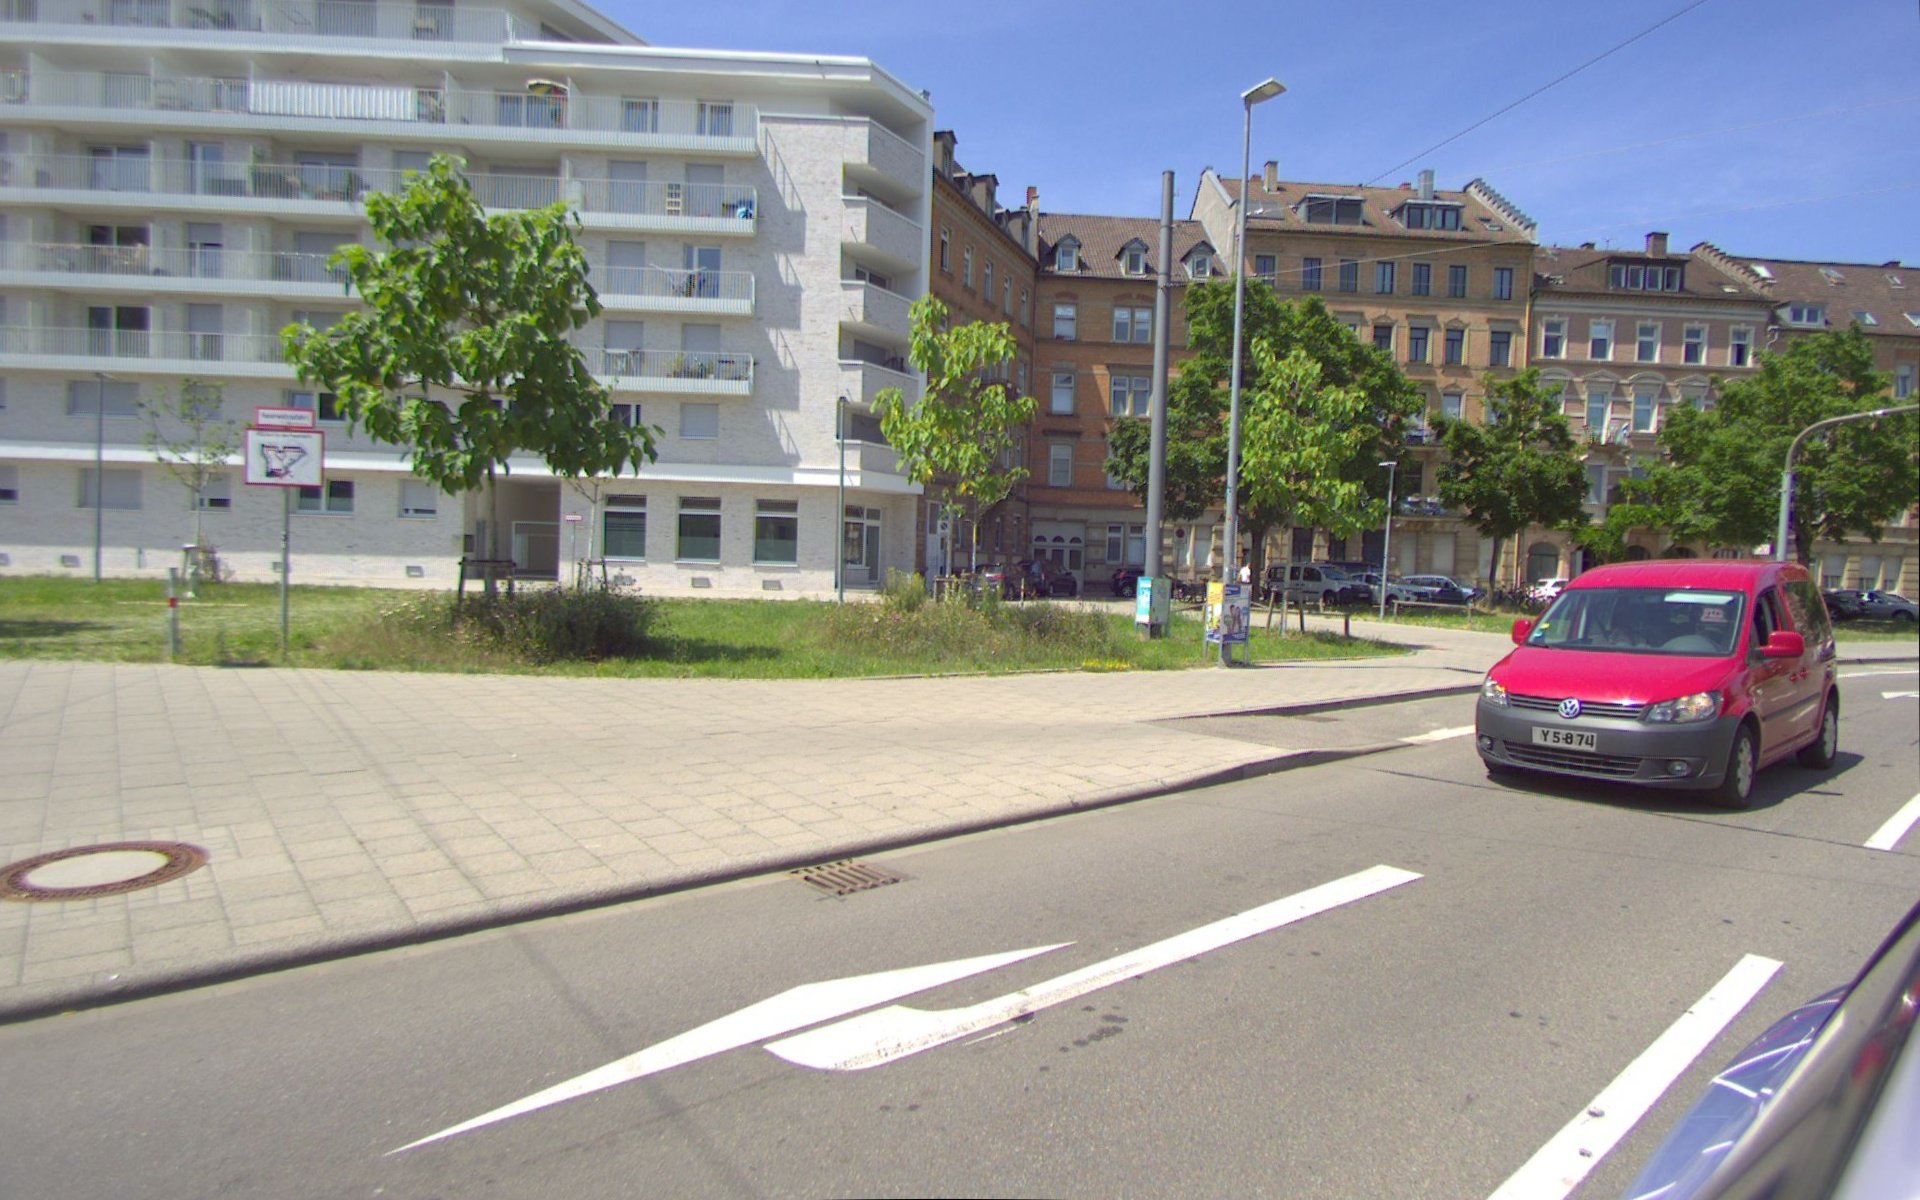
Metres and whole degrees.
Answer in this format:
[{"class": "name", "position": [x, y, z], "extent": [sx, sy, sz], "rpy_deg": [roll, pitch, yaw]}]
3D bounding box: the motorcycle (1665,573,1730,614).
[{"class": "motorcycle", "position": [27.215, -0.259, 37.348], "extent": [1.821, 1.430, 0.677], "rpy_deg": [2, 2, 0]}]

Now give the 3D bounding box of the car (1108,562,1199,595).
[{"class": "car", "position": [9.280, -1.031, 48.695], "extent": [3.921, 1.438, 1.779], "rpy_deg": [2, 1, -3]}]

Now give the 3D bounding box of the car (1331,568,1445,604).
[{"class": "car", "position": [17.041, -0.575, 40.471], "extent": [1.723, 1.349, 4.006], "rpy_deg": [1, 1, -29]}]

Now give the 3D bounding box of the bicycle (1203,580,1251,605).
[{"class": "bicycle", "position": [10.748, -0.318, 40.828], "extent": [0.498, 0.947, 2.052], "rpy_deg": [1, 1, -32]}]

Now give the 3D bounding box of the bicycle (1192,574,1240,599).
[{"class": "bicycle", "position": [10.242, -0.557, 40.524], "extent": [0.498, 0.947, 2.052], "rpy_deg": [1, 1, -32]}]

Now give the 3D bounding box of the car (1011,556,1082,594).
[{"class": "car", "position": [3.891, -1.093, 44.942], "extent": [1.760, 1.548, 4.043], "rpy_deg": [2, 1, 27]}]

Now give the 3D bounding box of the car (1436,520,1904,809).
[{"class": "car", "position": [6.344, 0.422, 8.783], "extent": [5.070, 1.857, 1.860], "rpy_deg": [1, 1, -37]}]

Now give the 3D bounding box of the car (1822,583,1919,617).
[{"class": "car", "position": [37.969, 0.005, 41.146], "extent": [1.931, 1.330, 4.008], "rpy_deg": [1, 1, -24]}]

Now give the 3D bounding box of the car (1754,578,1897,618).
[{"class": "car", "position": [35.466, -0.101, 41.598], "extent": [1.761, 1.488, 4.098], "rpy_deg": [1, 1, -29]}]

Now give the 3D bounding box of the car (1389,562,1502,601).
[{"class": "car", "position": [19.559, -0.754, 40.936], "extent": [1.575, 1.450, 3.873], "rpy_deg": [1, 1, -30]}]

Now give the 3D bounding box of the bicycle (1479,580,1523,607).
[{"class": "bicycle", "position": [20.025, -0.256, 37.458], "extent": [1.353, 0.959, 0.474], "rpy_deg": [2, 0, 19]}]

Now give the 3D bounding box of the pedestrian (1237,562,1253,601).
[{"class": "pedestrian", "position": [13.798, -0.886, 48.934], "extent": [0.591, 1.842, 0.453], "rpy_deg": [1, 0, -2]}]

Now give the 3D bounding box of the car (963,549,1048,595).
[{"class": "car", "position": [1.815, -1.052, 38.888], "extent": [1.679, 1.645, 4.091], "rpy_deg": [2, 1, 27]}]

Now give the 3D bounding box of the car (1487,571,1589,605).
[{"class": "car", "position": [28.497, -0.584, 49.987], "extent": [3.924, 1.549, 1.842], "rpy_deg": [2, 1, 0]}]

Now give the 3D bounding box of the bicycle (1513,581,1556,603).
[{"class": "bicycle", "position": [22.648, -0.317, 39.932], "extent": [1.445, 0.815, 0.493], "rpy_deg": [2, 1, 33]}]

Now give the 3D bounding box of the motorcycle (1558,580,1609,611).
[{"class": "motorcycle", "position": [23.512, -0.190, 38.195], "extent": [0.517, 1.134, 1.831], "rpy_deg": [1, 1, -9]}]

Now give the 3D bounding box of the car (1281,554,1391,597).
[{"class": "car", "position": [18.274, -1.187, 49.356], "extent": [4.564, 1.927, 1.927], "rpy_deg": [2, 1, -1]}]

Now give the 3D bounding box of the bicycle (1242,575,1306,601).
[{"class": "bicycle", "position": [12.331, -0.484, 39.819], "extent": [0.500, 0.947, 2.421], "rpy_deg": [1, 1, -45]}]

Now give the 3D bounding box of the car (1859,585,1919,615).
[{"class": "car", "position": [47.010, 0.009, 49.999], "extent": [3.643, 1.438, 1.786], "rpy_deg": [2, 1, -3]}]

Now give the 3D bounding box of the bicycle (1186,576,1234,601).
[{"class": "bicycle", "position": [9.849, -0.455, 39.903], "extent": [0.498, 0.947, 2.052], "rpy_deg": [1, 1, -32]}]

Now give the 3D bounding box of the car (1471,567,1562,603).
[{"class": "car", "position": [23.622, -0.644, 43.103], "extent": [1.923, 1.393, 3.994], "rpy_deg": [2, 1, 6]}]

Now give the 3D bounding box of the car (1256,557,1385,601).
[{"class": "car", "position": [14.259, -0.851, 40.338], "extent": [1.799, 1.621, 4.881], "rpy_deg": [1, 1, -29]}]

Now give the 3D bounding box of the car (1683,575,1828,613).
[{"class": "car", "position": [32.133, -0.266, 41.015], "extent": [1.550, 1.393, 4.355], "rpy_deg": [1, 1, -27]}]

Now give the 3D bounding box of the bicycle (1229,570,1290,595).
[{"class": "bicycle", "position": [12.112, -0.708, 40.988], "extent": [0.500, 0.947, 2.421], "rpy_deg": [0, 2, -45]}]
